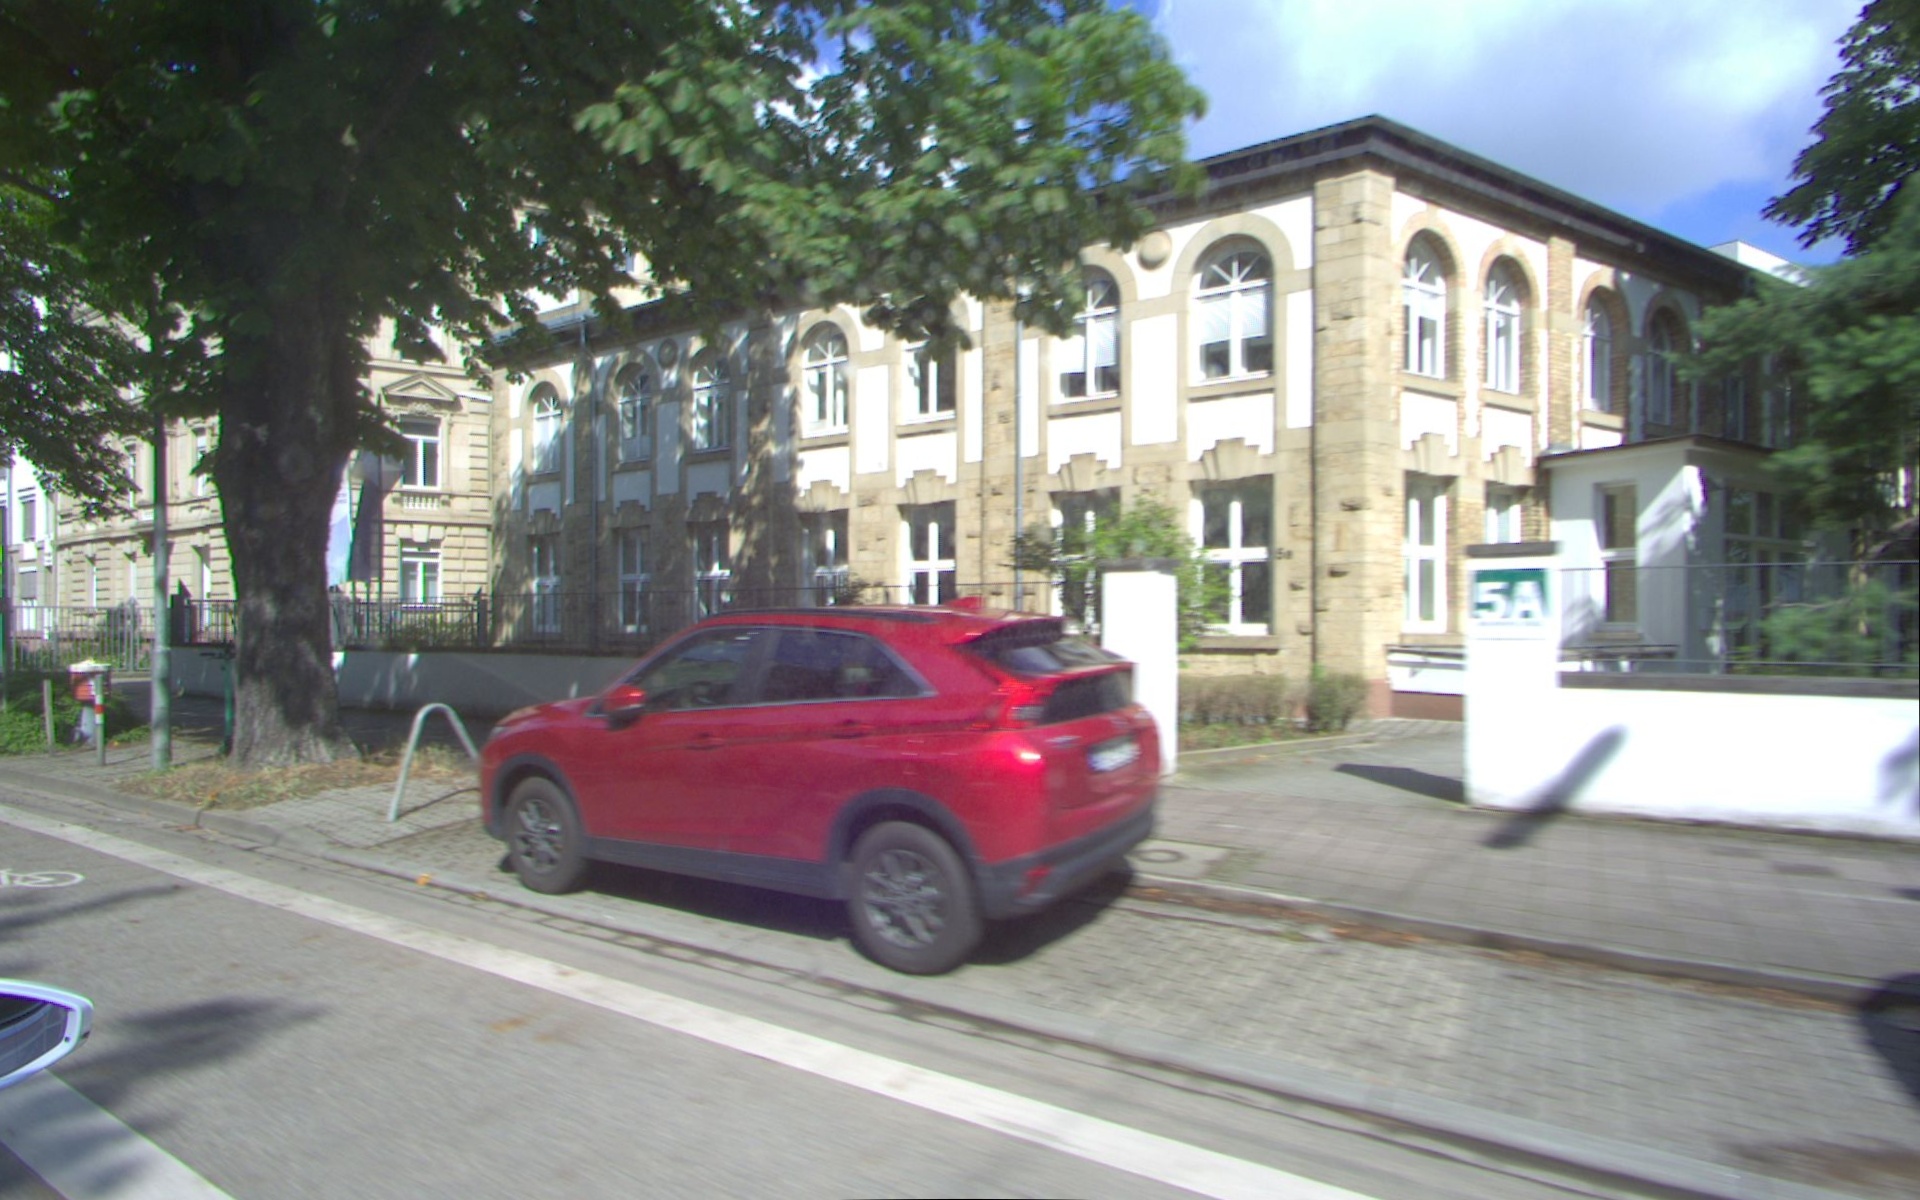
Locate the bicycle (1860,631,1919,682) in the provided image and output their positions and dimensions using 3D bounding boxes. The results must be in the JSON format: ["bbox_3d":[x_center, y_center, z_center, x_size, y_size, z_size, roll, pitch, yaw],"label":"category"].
[{"bbox_3d":[19.557,1.163,20.373,0.421,1.000,1.810,2,-1,-31],"label":"bicycle"}]

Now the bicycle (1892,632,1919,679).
[{"bbox_3d":[20.859,1.196,21.046,0.421,1.000,1.810,2,-1,-31],"label":"bicycle"}]

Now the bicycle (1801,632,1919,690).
[{"bbox_3d":[17.190,1.138,19.019,0.421,1.000,1.810,2,-1,-31],"label":"bicycle"}]

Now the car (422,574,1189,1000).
[{"bbox_3d":[-1.003,0.772,5.872,4.219,1.698,1.873,-1,0,31],"label":"car"}]

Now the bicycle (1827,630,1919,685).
[{"bbox_3d":[18.166,1.118,19.562,0.421,1.000,1.810,2,-1,-31],"label":"bicycle"}]

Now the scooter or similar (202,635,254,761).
[{"bbox_3d":[-8.001,1.040,10.971,0.338,1.254,1.251,-3,2,-33],"label":"scooter or similar"}]

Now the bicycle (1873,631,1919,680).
[{"bbox_3d":[20.190,1.175,20.750,0.421,1.000,1.810,2,-1,-31],"label":"bicycle"}]

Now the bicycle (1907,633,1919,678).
[{"bbox_3d":[21.848,1.244,21.740,0.421,1.000,1.810,2,-1,-31],"label":"bicycle"}]

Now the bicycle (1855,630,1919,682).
[{"bbox_3d":[19.149,1.132,20.023,0.421,1.000,1.810,2,-1,-31],"label":"bicycle"}]
